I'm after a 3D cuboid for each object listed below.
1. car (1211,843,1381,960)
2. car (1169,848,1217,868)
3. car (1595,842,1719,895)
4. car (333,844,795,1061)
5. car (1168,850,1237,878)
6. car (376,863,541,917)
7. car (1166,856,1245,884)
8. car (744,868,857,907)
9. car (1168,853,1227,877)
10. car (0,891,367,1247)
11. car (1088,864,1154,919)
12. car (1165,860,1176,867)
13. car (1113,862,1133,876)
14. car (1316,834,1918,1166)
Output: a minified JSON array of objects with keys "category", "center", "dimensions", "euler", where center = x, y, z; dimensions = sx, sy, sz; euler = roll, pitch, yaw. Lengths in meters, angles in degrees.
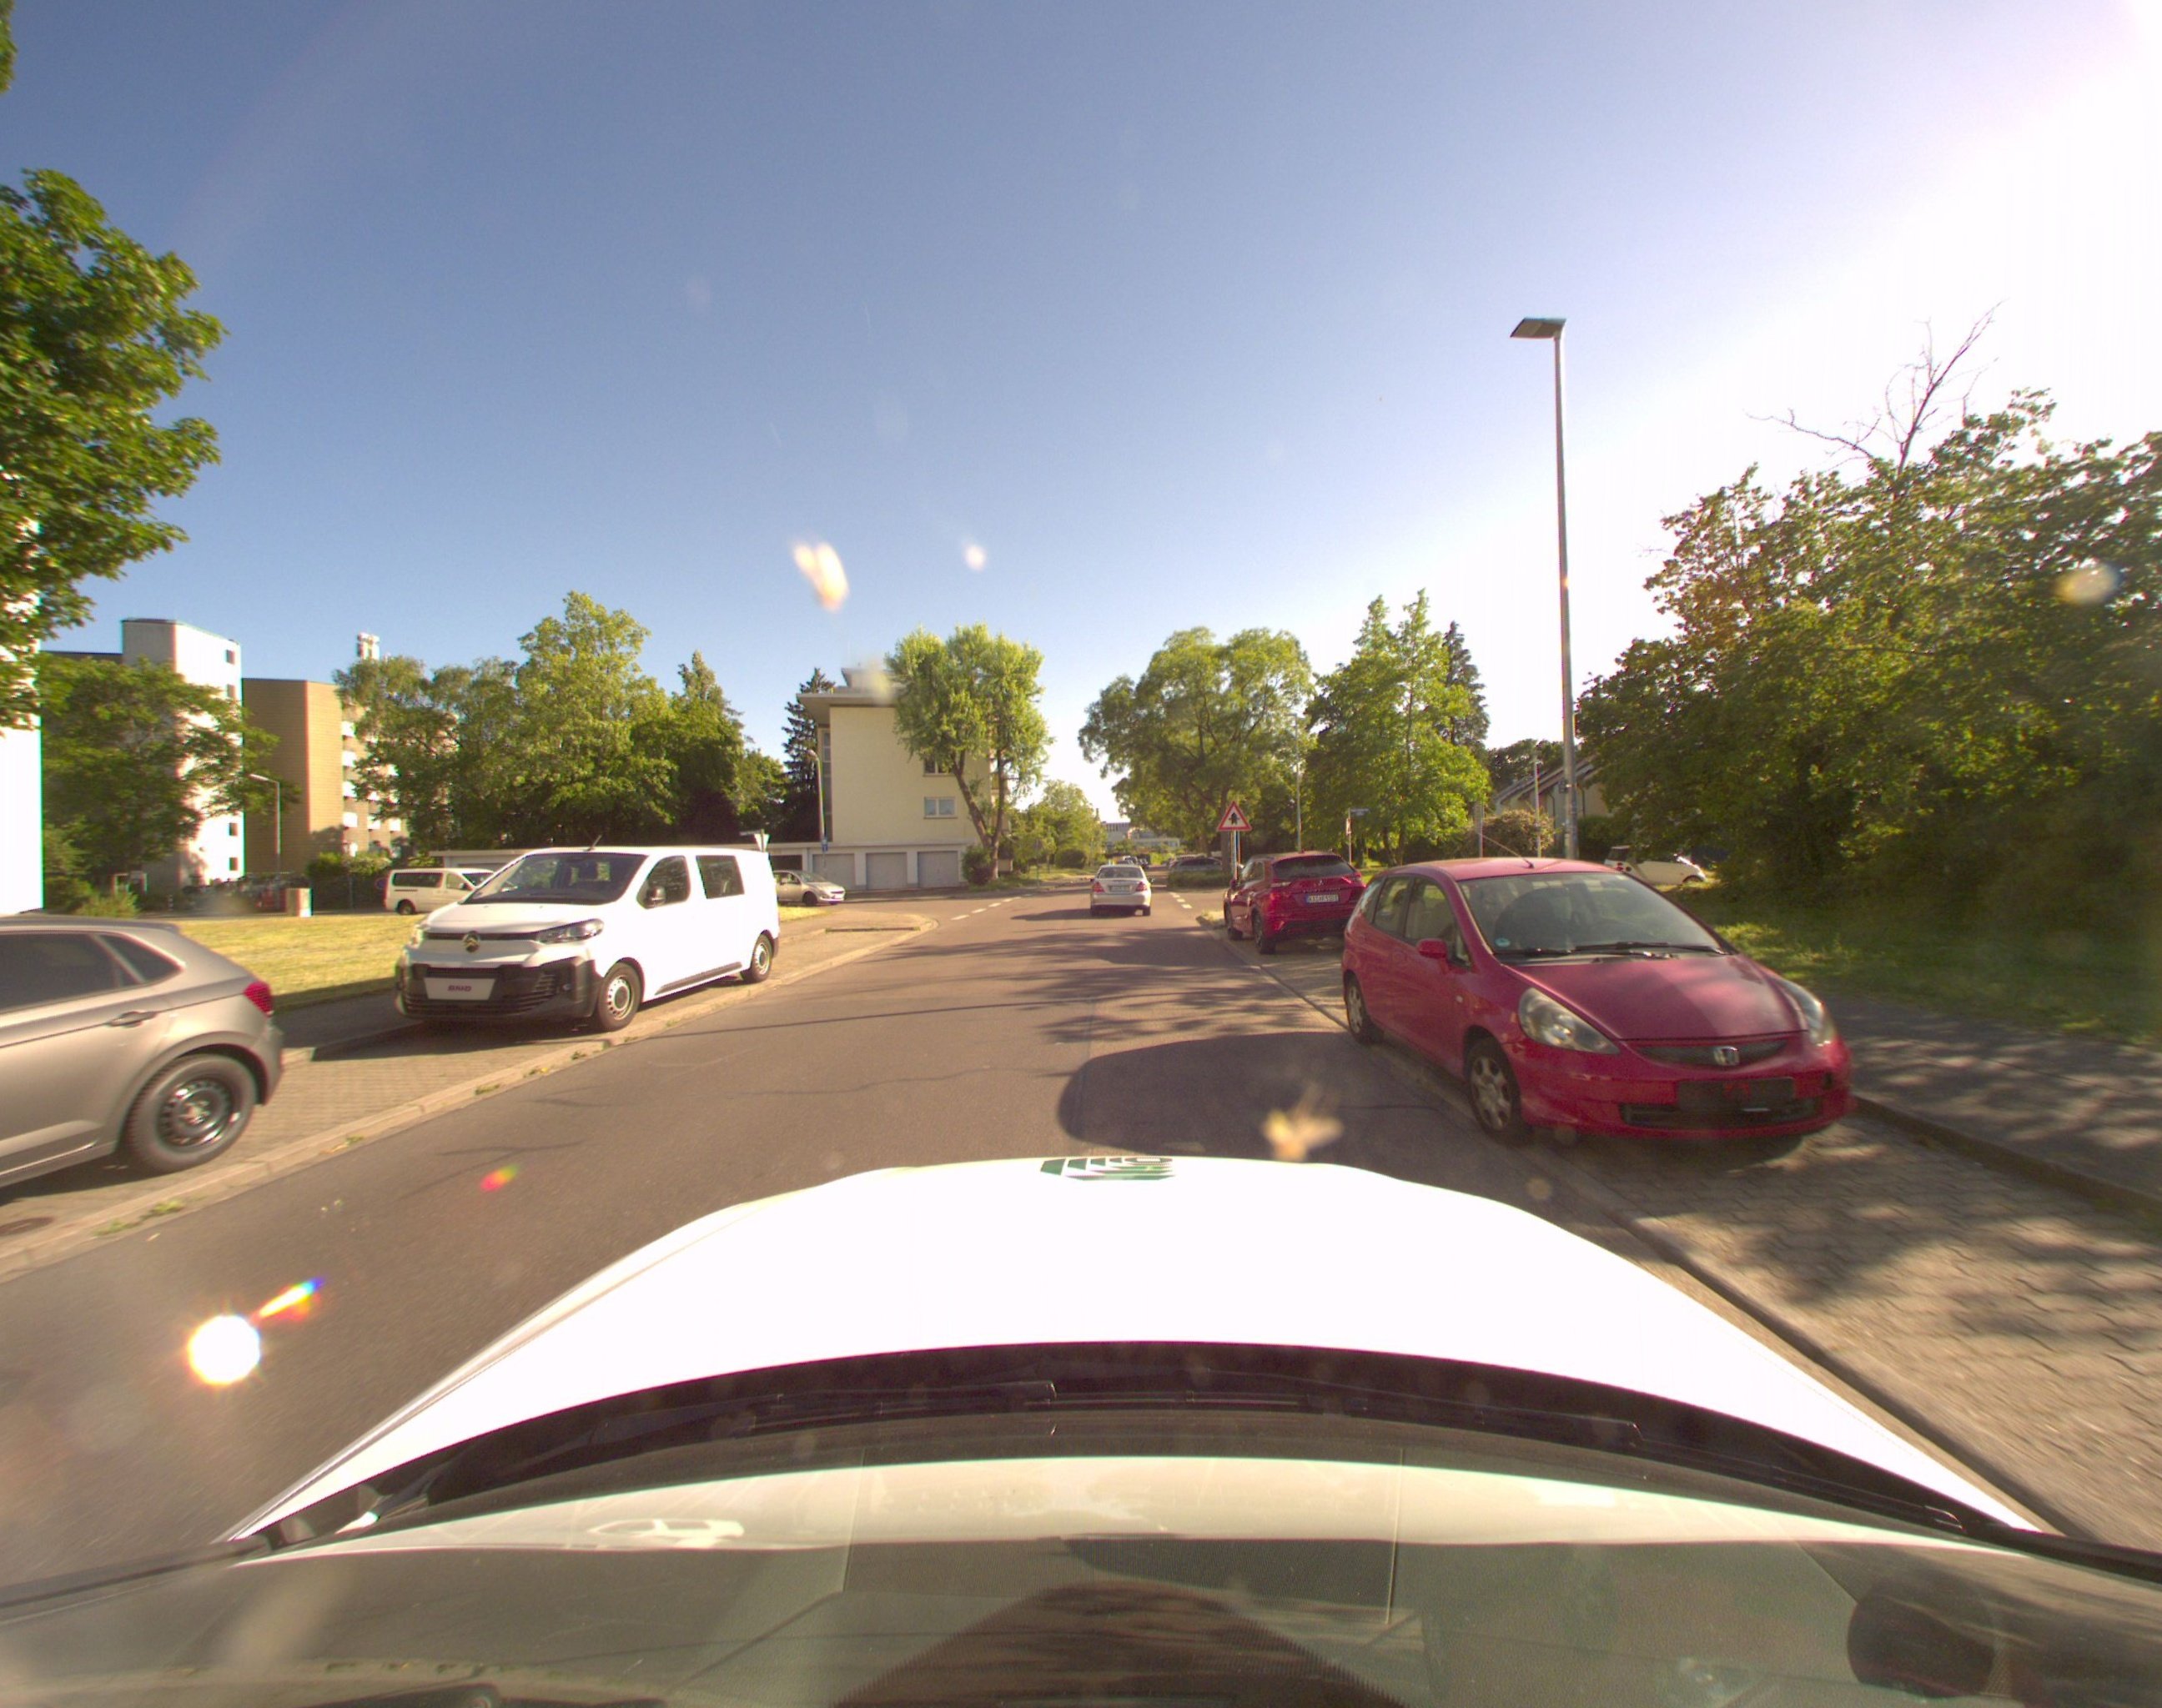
[{"category":"car","center":[3.687,0.751,14.913],"dimensions":[1.769,1.680,4.643],"euler":[-4,-1,0]},{"category":"car","center":[12.610,0.491,91.790],"dimensions":[5.188,2.059,2.005],"euler":[-2,-1,8]},{"category":"car","center":[18.928,0.470,26.901],"dimensions":[2.932,1.563,1.708],"euler":[-2,2,15]},{"category":"car","center":[-5.428,0.896,9.708],"dimensions":[2.006,1.886,5.193],"euler":[0,-1,2]},{"category":"car","center":[9.225,0.765,61.876],"dimensions":[4.870,1.924,1.999],"euler":[-2,-1,-1]},{"category":"car","center":[-24.564,1.387,32.226],"dimensions":[5.076,1.951,2.243],"euler":[-1,-1,8]},{"category":"car","center":[7.884,1.012,51.847],"dimensions":[4.761,1.549,2.013],"euler":[-2,-1,3]},{"category":"car","center":[-11.326,1.354,32.921],"dimensions":[3.896,1.461,2.008],"euler":[-2,-1,19]},{"category":"car","center":[9.866,0.915,69.306],"dimensions":[4.859,1.723,2.004],"euler":[-3,-1,6]},{"category":"car","center":[-5.702,0.971,3.260],"dimensions":[1.826,1.518,4.223],"euler":[0,-1,2]},{"category":"car","center":[1.129,1.031,23.491],"dimensions":[1.726,1.434,3.439],"euler":[-1,-1,2]},{"category":"car","center":[19.492,2.107,177.489],"dimensions":[1.881,1.503,3.668],"euler":[-2,-1,12]},{"category":"car","center":[4.914,1.757,94.852],"dimensions":[1.902,1.490,3.847],"euler":[-4,-1,9]},{"category":"car","center":[3.052,0.695,5.774],"dimensions":[1.685,1.474,4.001],"euler":[-2,-1,2]}]
